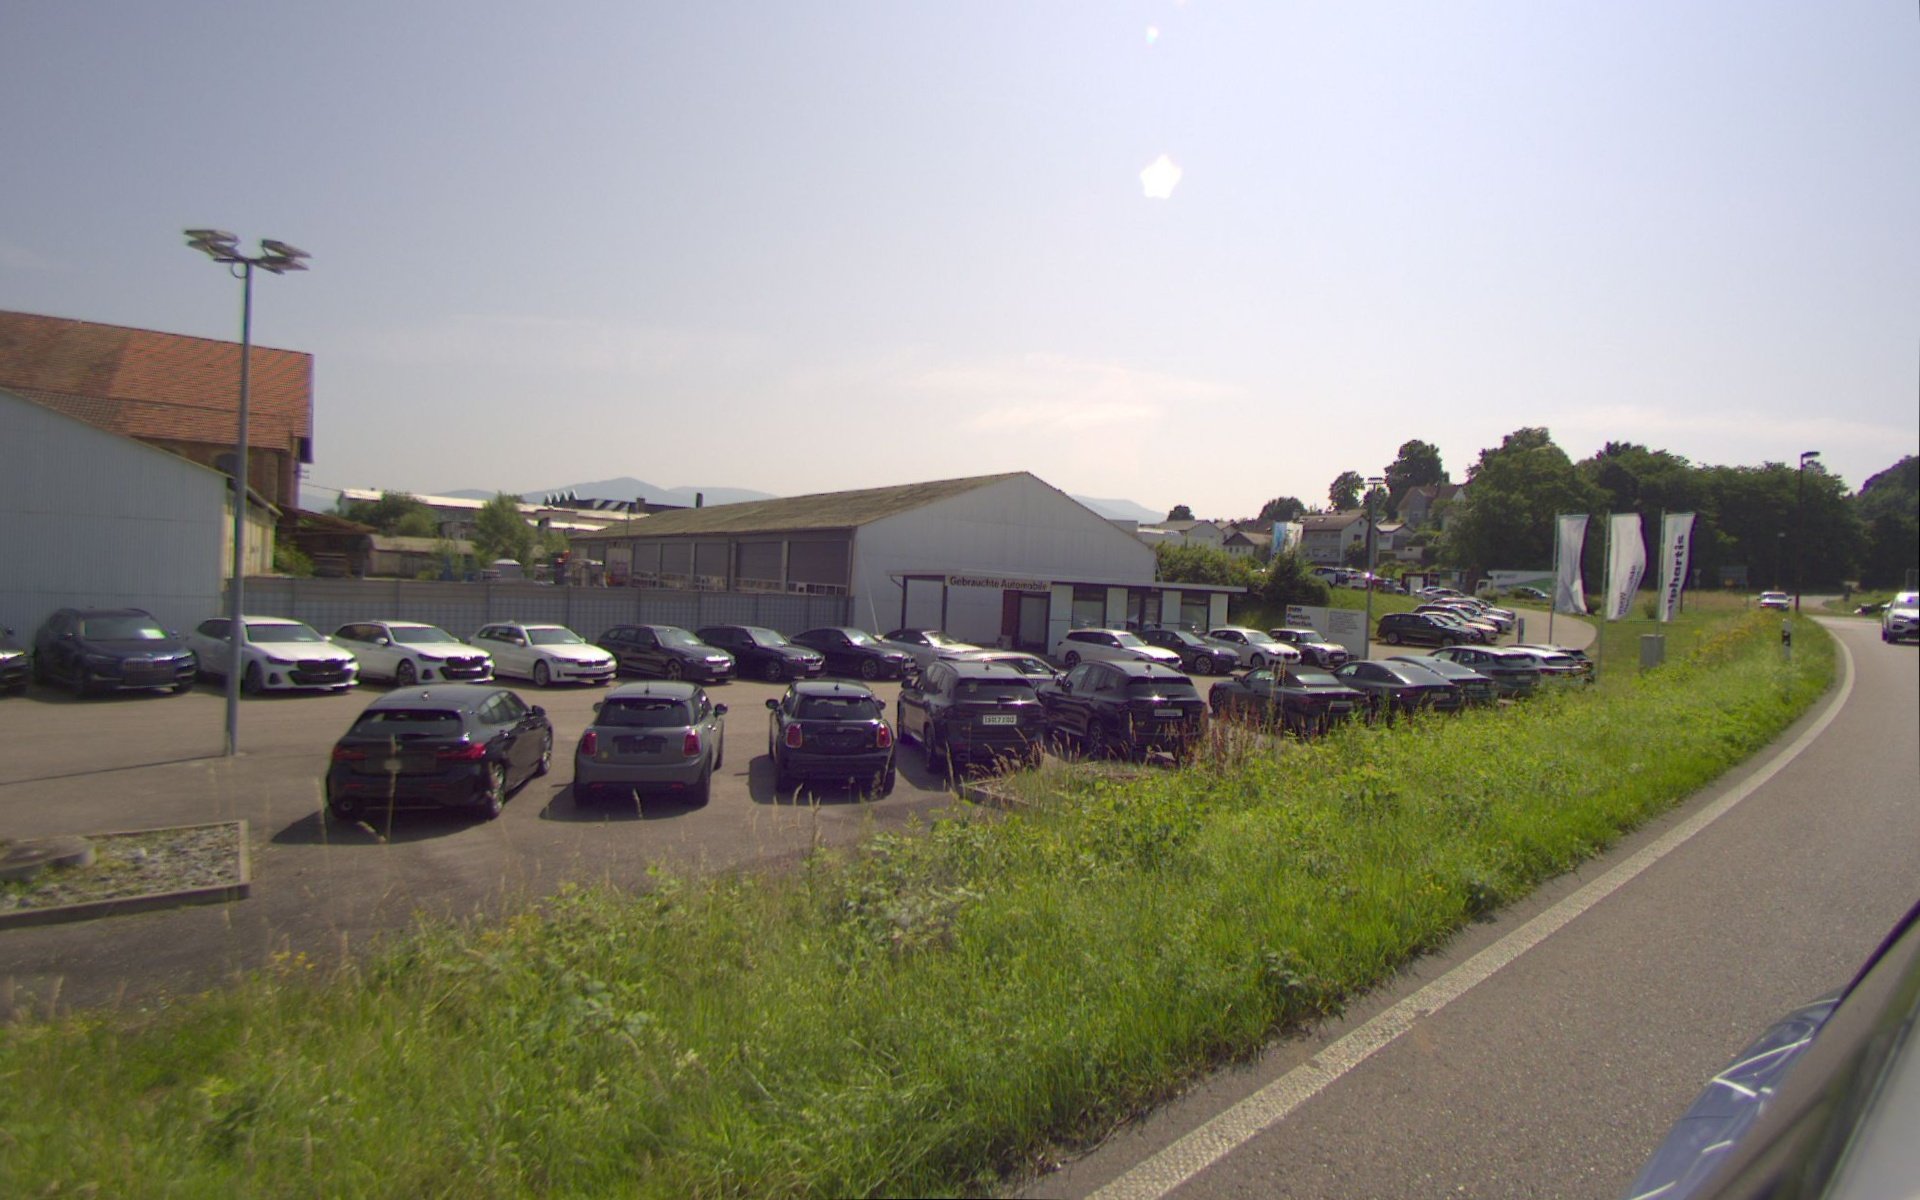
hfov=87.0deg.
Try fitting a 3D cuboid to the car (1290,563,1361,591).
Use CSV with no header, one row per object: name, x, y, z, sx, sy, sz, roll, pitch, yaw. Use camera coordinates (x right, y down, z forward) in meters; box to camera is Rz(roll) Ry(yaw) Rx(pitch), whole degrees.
car,23.109,-1.471,64.110,1.734,1.551,3.889,1,2,-35

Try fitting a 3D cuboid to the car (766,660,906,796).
car,-2.040,1.850,15.613,1.739,1.460,4.158,3,1,-12

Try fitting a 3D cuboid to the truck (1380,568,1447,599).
truck,42.598,-1.588,95.218,1.910,2.697,5.636,2,2,-29

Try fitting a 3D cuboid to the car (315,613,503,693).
car,-13.229,1.184,24.235,4.577,1.542,1.890,3,1,31

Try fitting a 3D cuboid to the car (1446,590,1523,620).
car,35.444,0.323,68.496,4.531,1.584,1.906,5,5,27

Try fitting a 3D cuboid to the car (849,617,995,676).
car,-1.291,1.465,33.150,4.592,1.542,1.907,3,2,36

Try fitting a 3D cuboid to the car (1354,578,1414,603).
car,34.745,-0.771,83.036,1.912,1.771,4.011,2,3,-35

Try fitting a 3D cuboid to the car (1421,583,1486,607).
car,40.080,-0.440,82.309,4.524,1.589,1.756,4,3,22

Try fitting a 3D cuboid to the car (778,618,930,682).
car,-3.316,1.466,31.226,4.592,1.542,1.907,3,2,36

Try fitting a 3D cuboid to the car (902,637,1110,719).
car,1.113,1.725,23.493,4.446,1.475,2.142,0,1,-36

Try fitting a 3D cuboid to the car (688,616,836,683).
car,-5.808,1.373,29.490,4.302,1.542,1.774,3,2,36

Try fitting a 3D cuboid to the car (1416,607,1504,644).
car,26.565,1.318,53.819,3.970,1.570,1.978,4,5,32

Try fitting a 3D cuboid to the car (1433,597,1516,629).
car,31.478,0.784,61.969,4.396,1.482,1.905,5,6,28

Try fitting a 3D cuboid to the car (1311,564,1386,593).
car,26.259,-1.493,68.536,1.804,1.768,4.470,1,2,-35

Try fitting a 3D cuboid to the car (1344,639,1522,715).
car,12.282,1.944,26.590,1.817,1.542,4.182,0,1,-20

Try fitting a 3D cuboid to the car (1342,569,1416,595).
car,29.854,-1.292,72.249,1.912,1.654,4.470,1,2,-35

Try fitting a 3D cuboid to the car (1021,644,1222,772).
car,2.772,1.859,18.583,1.817,1.722,4.654,3,1,-15

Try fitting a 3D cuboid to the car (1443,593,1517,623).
car,34.133,0.487,66.512,4.223,1.499,1.906,5,5,27

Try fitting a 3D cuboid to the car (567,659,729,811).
car,-4.274,1.777,14.450,1.793,1.511,4.158,1,1,-12

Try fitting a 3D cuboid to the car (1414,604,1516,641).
car,27.828,1.183,55.825,4.756,1.525,1.975,5,6,36

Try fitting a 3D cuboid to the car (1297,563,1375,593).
car,24.538,-1.464,66.169,1.804,1.768,4.470,1,2,-35

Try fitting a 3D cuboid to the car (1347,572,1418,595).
car,31.191,-1.241,74.802,1.912,1.518,4.470,2,2,-35

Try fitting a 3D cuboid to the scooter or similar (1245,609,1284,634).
scooter or similar,16.936,1.190,56.362,1.972,1.330,0.613,2,1,40

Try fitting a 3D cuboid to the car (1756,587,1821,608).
car,68.940,-0.218,84.189,5.897,1.673,2.200,1,1,-30

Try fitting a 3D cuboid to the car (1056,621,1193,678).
car,5.600,1.634,34.844,1.900,1.542,4.431,0,3,-43

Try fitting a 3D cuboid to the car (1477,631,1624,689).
car,19.271,1.907,33.245,1.655,1.542,4.182,0,1,-15

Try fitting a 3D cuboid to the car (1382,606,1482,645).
car,24.378,1.273,52.300,4.461,1.660,2.124,2,3,32

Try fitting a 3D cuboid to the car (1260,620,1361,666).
car,13.945,1.671,40.473,1.715,1.542,3.812,0,1,-21

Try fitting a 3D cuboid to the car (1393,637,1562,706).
car,14.679,1.964,28.974,1.817,1.542,4.181,0,1,-20

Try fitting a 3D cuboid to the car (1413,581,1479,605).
car,40.806,-0.635,85.103,4.601,1.589,1.760,5,2,16

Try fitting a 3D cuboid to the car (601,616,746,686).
car,-7.852,1.329,27.605,3.986,1.542,1.736,3,2,36

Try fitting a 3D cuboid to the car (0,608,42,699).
car,-19.772,0.946,19.524,4.303,1.596,1.890,3,1,31

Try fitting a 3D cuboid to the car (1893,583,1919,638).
car,31.425,0.352,32.378,2.189,1.673,5.044,1,1,42

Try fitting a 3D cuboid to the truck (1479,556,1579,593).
truck,61.265,-2.742,109.109,8.989,3.876,2.856,2,1,42

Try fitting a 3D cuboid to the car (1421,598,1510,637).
car,29.031,0.954,58.164,4.238,1.768,1.975,5,6,36

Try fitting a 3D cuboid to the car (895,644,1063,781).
car,0.162,1.770,17.097,1.879,1.722,4.244,3,1,-12

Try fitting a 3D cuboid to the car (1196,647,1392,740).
car,7.356,1.997,22.855,1.817,1.542,4.654,0,1,-17

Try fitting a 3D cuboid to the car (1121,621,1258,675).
car,8.223,1.660,36.466,4.423,1.542,1.903,3,2,42

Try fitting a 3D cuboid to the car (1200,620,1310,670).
car,11.168,1.667,38.576,1.716,1.542,3.977,0,2,-28

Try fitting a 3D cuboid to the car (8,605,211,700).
car,-17.530,0.998,20.826,4.303,1.596,1.890,3,1,31

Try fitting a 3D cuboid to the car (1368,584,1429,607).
car,34.164,-0.369,78.971,1.910,1.545,4.015,2,2,-29

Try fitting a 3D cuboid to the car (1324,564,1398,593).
car,27.825,-1.502,70.347,1.912,1.768,4.470,1,2,-35

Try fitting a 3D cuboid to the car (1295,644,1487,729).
car,10.088,1.964,24.055,1.817,1.542,4.182,0,1,-20

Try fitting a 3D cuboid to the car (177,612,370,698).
car,-15.192,1.125,22.351,4.303,1.542,1.890,3,1,31

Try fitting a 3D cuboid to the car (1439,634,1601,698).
car,16.891,1.938,30.769,1.714,1.542,4.182,0,1,-20

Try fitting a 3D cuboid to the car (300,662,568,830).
car,-6.478,1.719,12.994,1.738,1.460,4.042,3,1,-8

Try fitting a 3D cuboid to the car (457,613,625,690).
car,-10.873,1.245,26.139,4.634,1.542,1.887,3,2,36
